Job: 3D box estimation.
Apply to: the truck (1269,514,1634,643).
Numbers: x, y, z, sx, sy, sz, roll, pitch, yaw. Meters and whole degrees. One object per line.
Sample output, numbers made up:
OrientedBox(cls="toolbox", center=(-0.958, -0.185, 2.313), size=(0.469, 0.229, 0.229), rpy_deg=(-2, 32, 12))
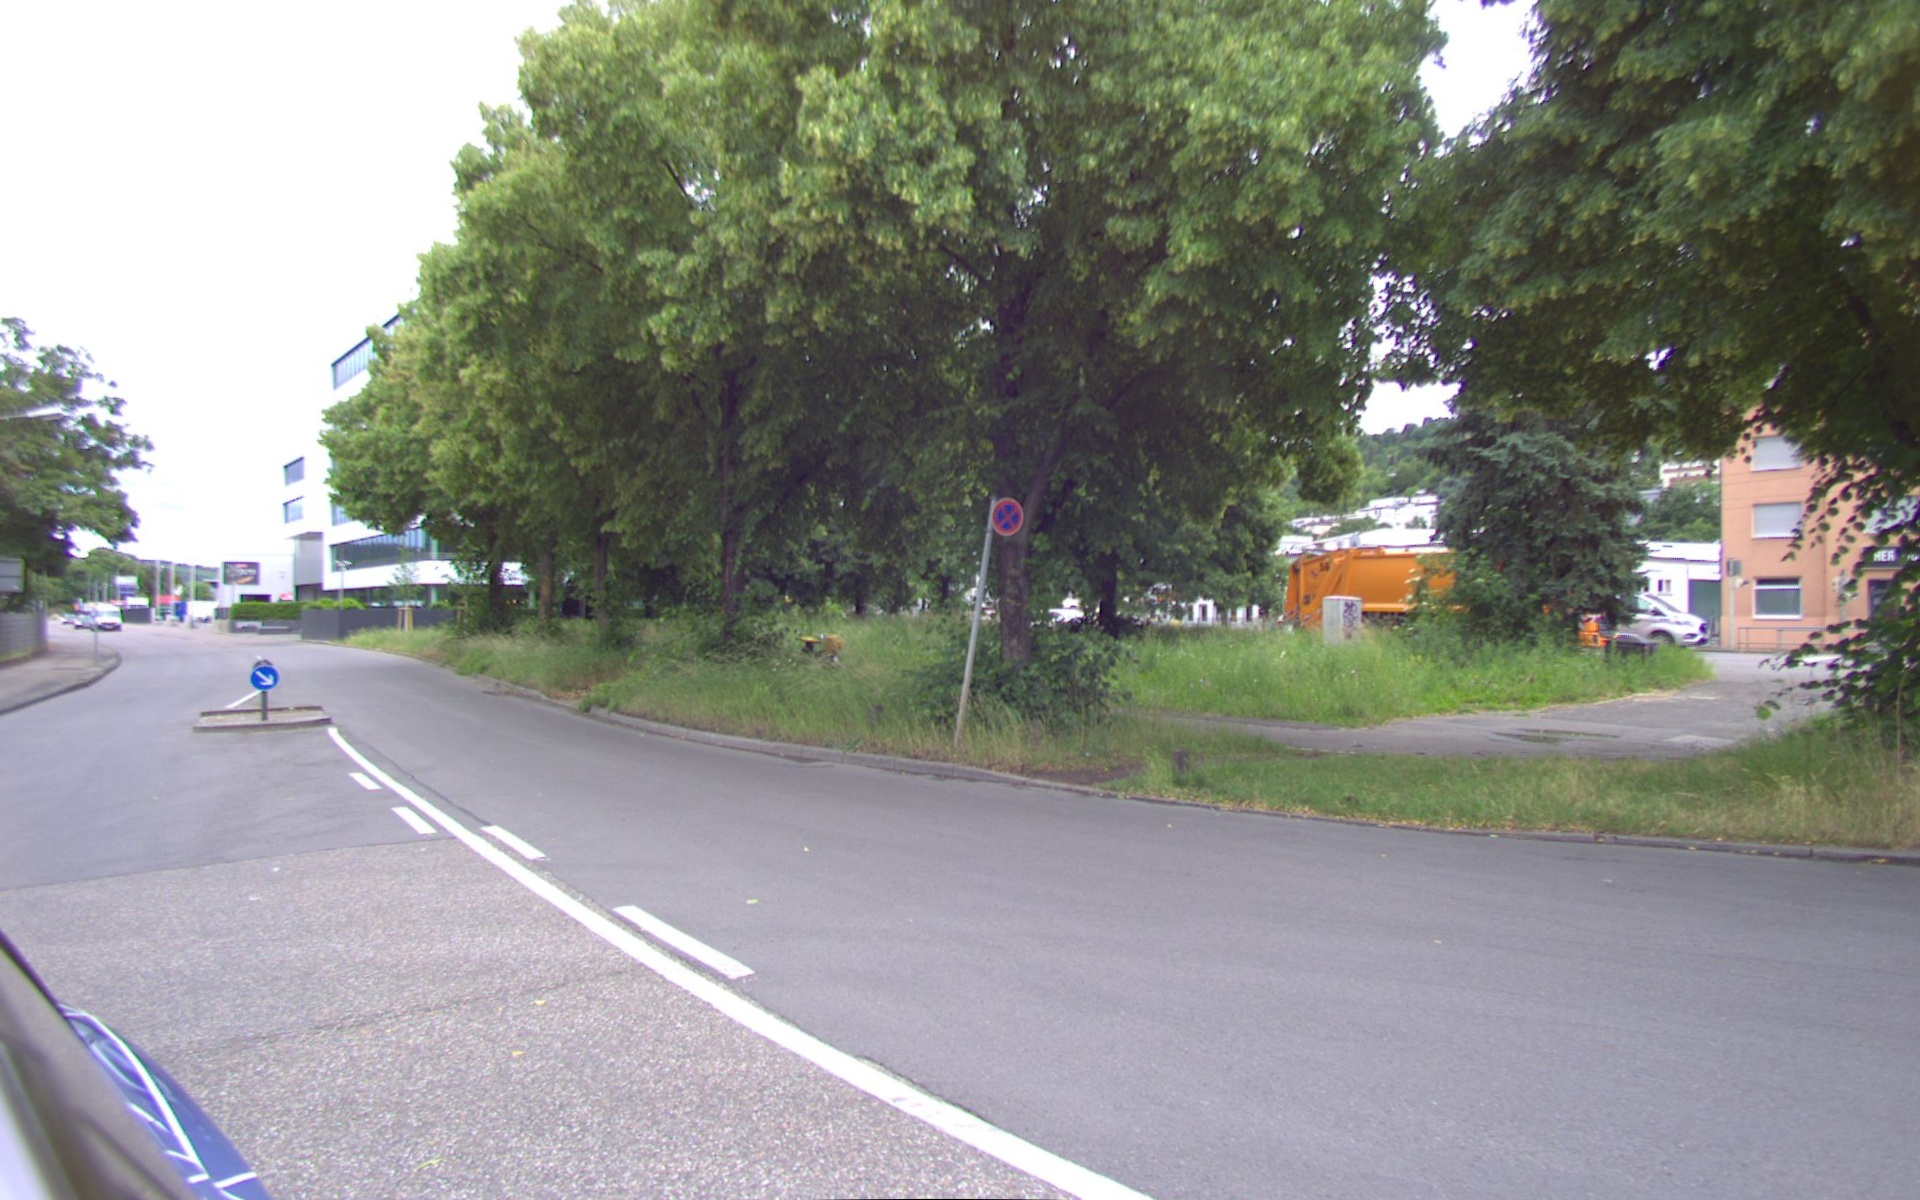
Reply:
OrientedBox(cls="truck", center=(15.383, -0.630, 32.809), size=(2.754, 3.553, 10.440), rpy_deg=(0, 0, -40))

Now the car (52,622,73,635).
OrientedBox(cls="car", center=(-139.612, 4.457, 157.455), size=(2.352, 1.884, 5.214), rpy_deg=(0, -1, -41))

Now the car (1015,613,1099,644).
OrientedBox(cls="car", center=(4.849, 1.454, 51.401), size=(1.773, 1.519, 4.912), rpy_deg=(1, -2, -30))

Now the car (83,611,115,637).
OrientedBox(cls="car", center=(-83.241, 2.293, 97.812), size=(2.352, 2.477, 6.109), rpy_deg=(0, -1, -41))

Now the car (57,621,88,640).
OrientedBox(cls="car", center=(-92.782, 3.139, 105.850), size=(2.352, 1.884, 5.214), rpy_deg=(0, -1, -41))

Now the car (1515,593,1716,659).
OrientedBox(cls="car", center=(21.826, 0.841, 33.918), size=(1.941, 2.029, 5.311), rpy_deg=(0, -1, -39))
